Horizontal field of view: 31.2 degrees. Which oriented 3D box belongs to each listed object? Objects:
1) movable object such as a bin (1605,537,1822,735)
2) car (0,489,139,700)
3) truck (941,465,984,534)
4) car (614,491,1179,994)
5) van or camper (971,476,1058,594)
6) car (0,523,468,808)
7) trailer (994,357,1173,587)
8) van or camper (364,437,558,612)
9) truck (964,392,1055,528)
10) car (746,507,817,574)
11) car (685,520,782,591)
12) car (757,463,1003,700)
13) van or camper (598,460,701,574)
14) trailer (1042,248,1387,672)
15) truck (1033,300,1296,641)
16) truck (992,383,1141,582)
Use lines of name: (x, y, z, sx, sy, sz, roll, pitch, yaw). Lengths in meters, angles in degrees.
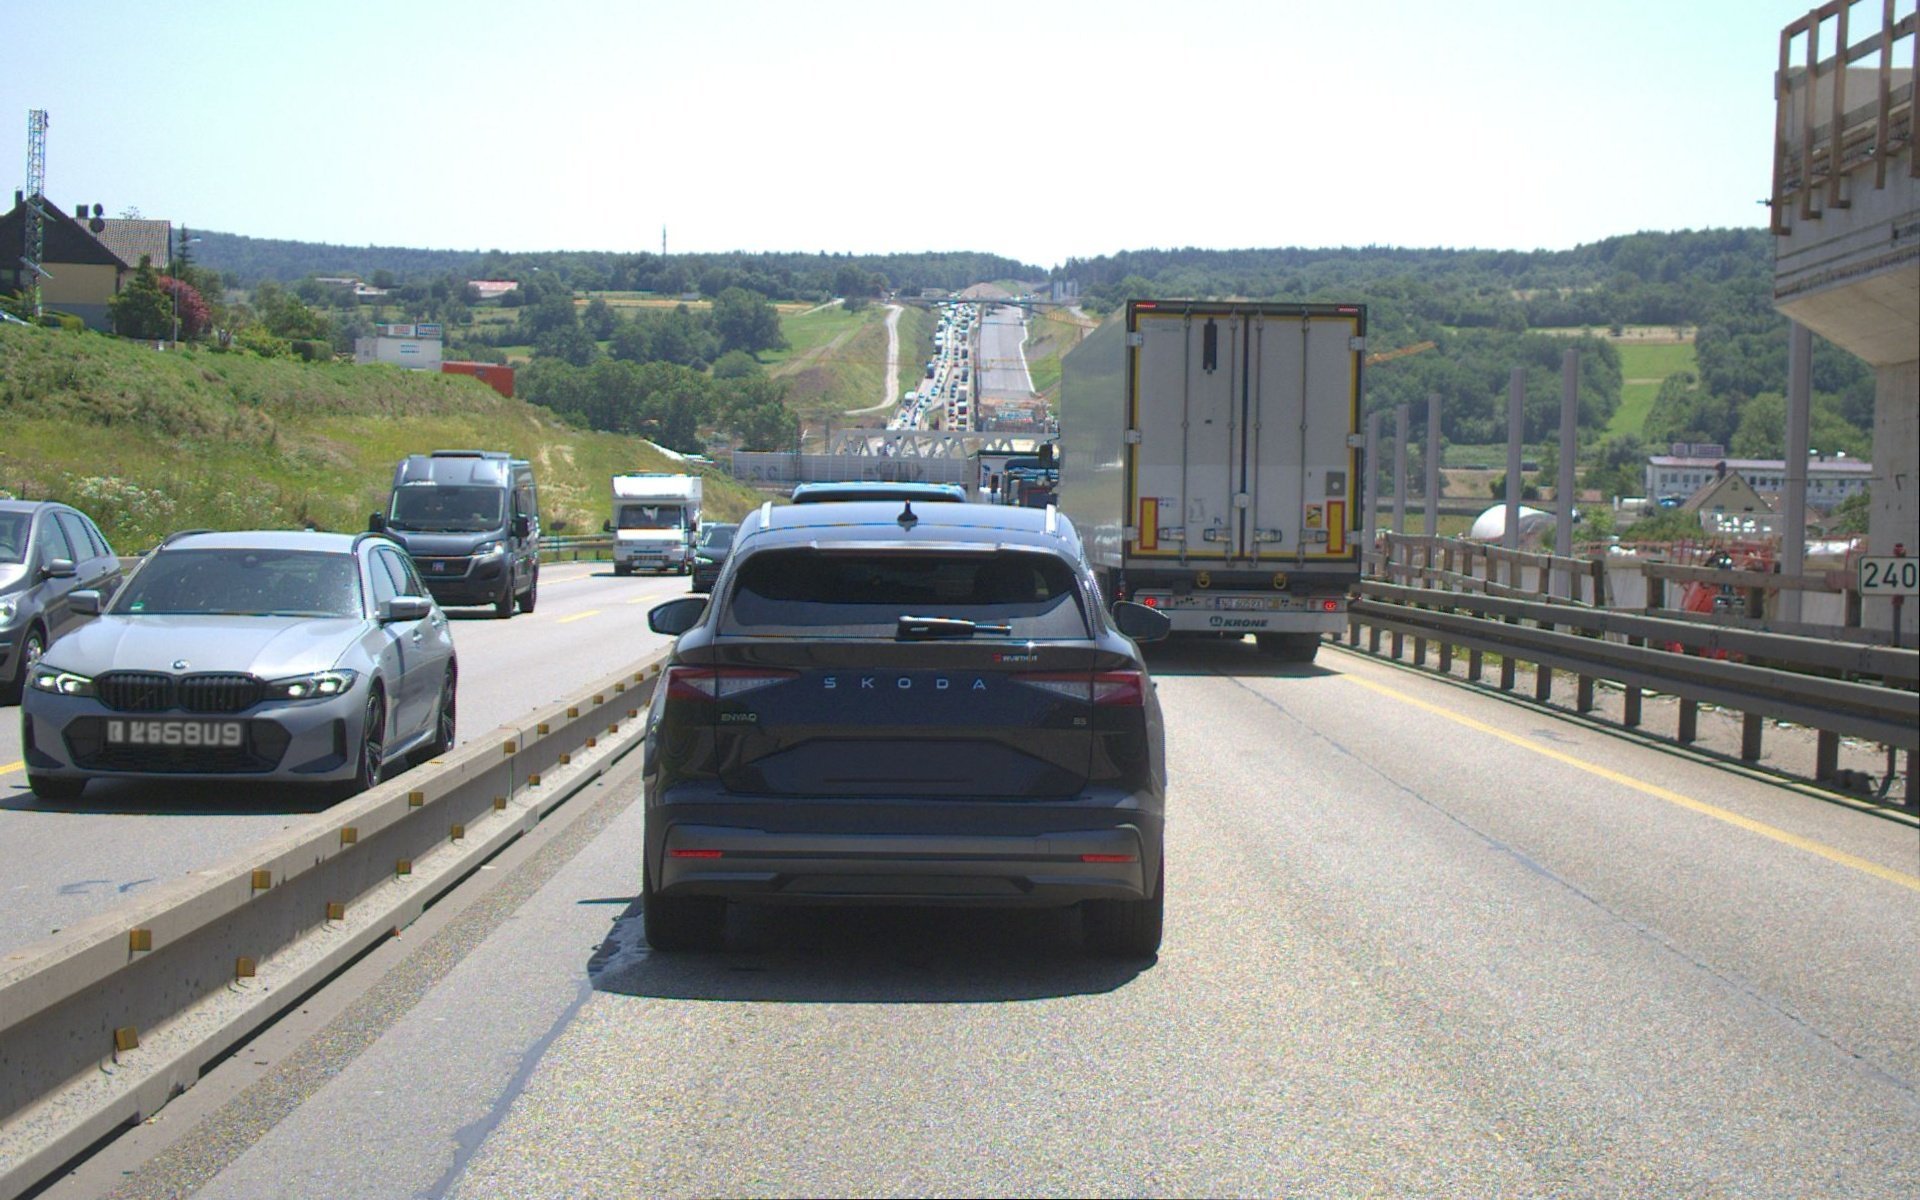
movable object such as a bin: (19.036, 0.842, 87.581, 3.227, 4.726, 9.656, 1, 0, -1)
car: (-8.050, -0.110, 27.858, 1.773, 1.576, 4.286, 2, 1, -1)
truck: (0.116, -6.415, 220.667, 2.640, 4.179, 9.284, 1, 0, 0)
car: (-0.201, 0.433, 13.104, 1.802, 1.602, 4.000, 1, 1, 0)
van or camper: (1.601, -1.815, 98.933, 2.389, 3.269, 6.468, 1, 0, 2)
car: (-4.032, 0.284, 19.645, 1.829, 1.428, 4.630, 0, 1, -1)
trailer: (2.508, -2.552, 75.280, 3.180, 4.498, 14.967, 1, 0, -1)
van or camper: (-7.842, -1.199, 54.659, 2.140, 2.564, 6.565, 1, 1, -1)
truck: (1.735, -4.978, 125.083, 2.852, 4.450, 11.918, 1, 0, -1)
car: (-5.080, -1.710, 98.145, 1.837, 1.821, 5.041, 1, 1, -1)
car: (-4.880, -0.994, 74.627, 1.842, 1.470, 4.835, 1, 1, -1)
car: (-0.687, -0.159, 30.519, 1.993, 1.919, 4.508, 1, 0, -1)
van or camper: (-8.722, -2.344, 97.199, 2.291, 3.056, 6.924, 1, 1, -1)
trailer: (2.886, -1.690, 43.408, 3.180, 4.497, 13.110, 1, 2, -1)
truck: (2.817, -1.843, 49.927, 3.180, 4.497, 8.166, 1, 2, -1)
truck: (2.459, -2.696, 82.431, 3.180, 4.498, 8.166, 1, 0, -1)
